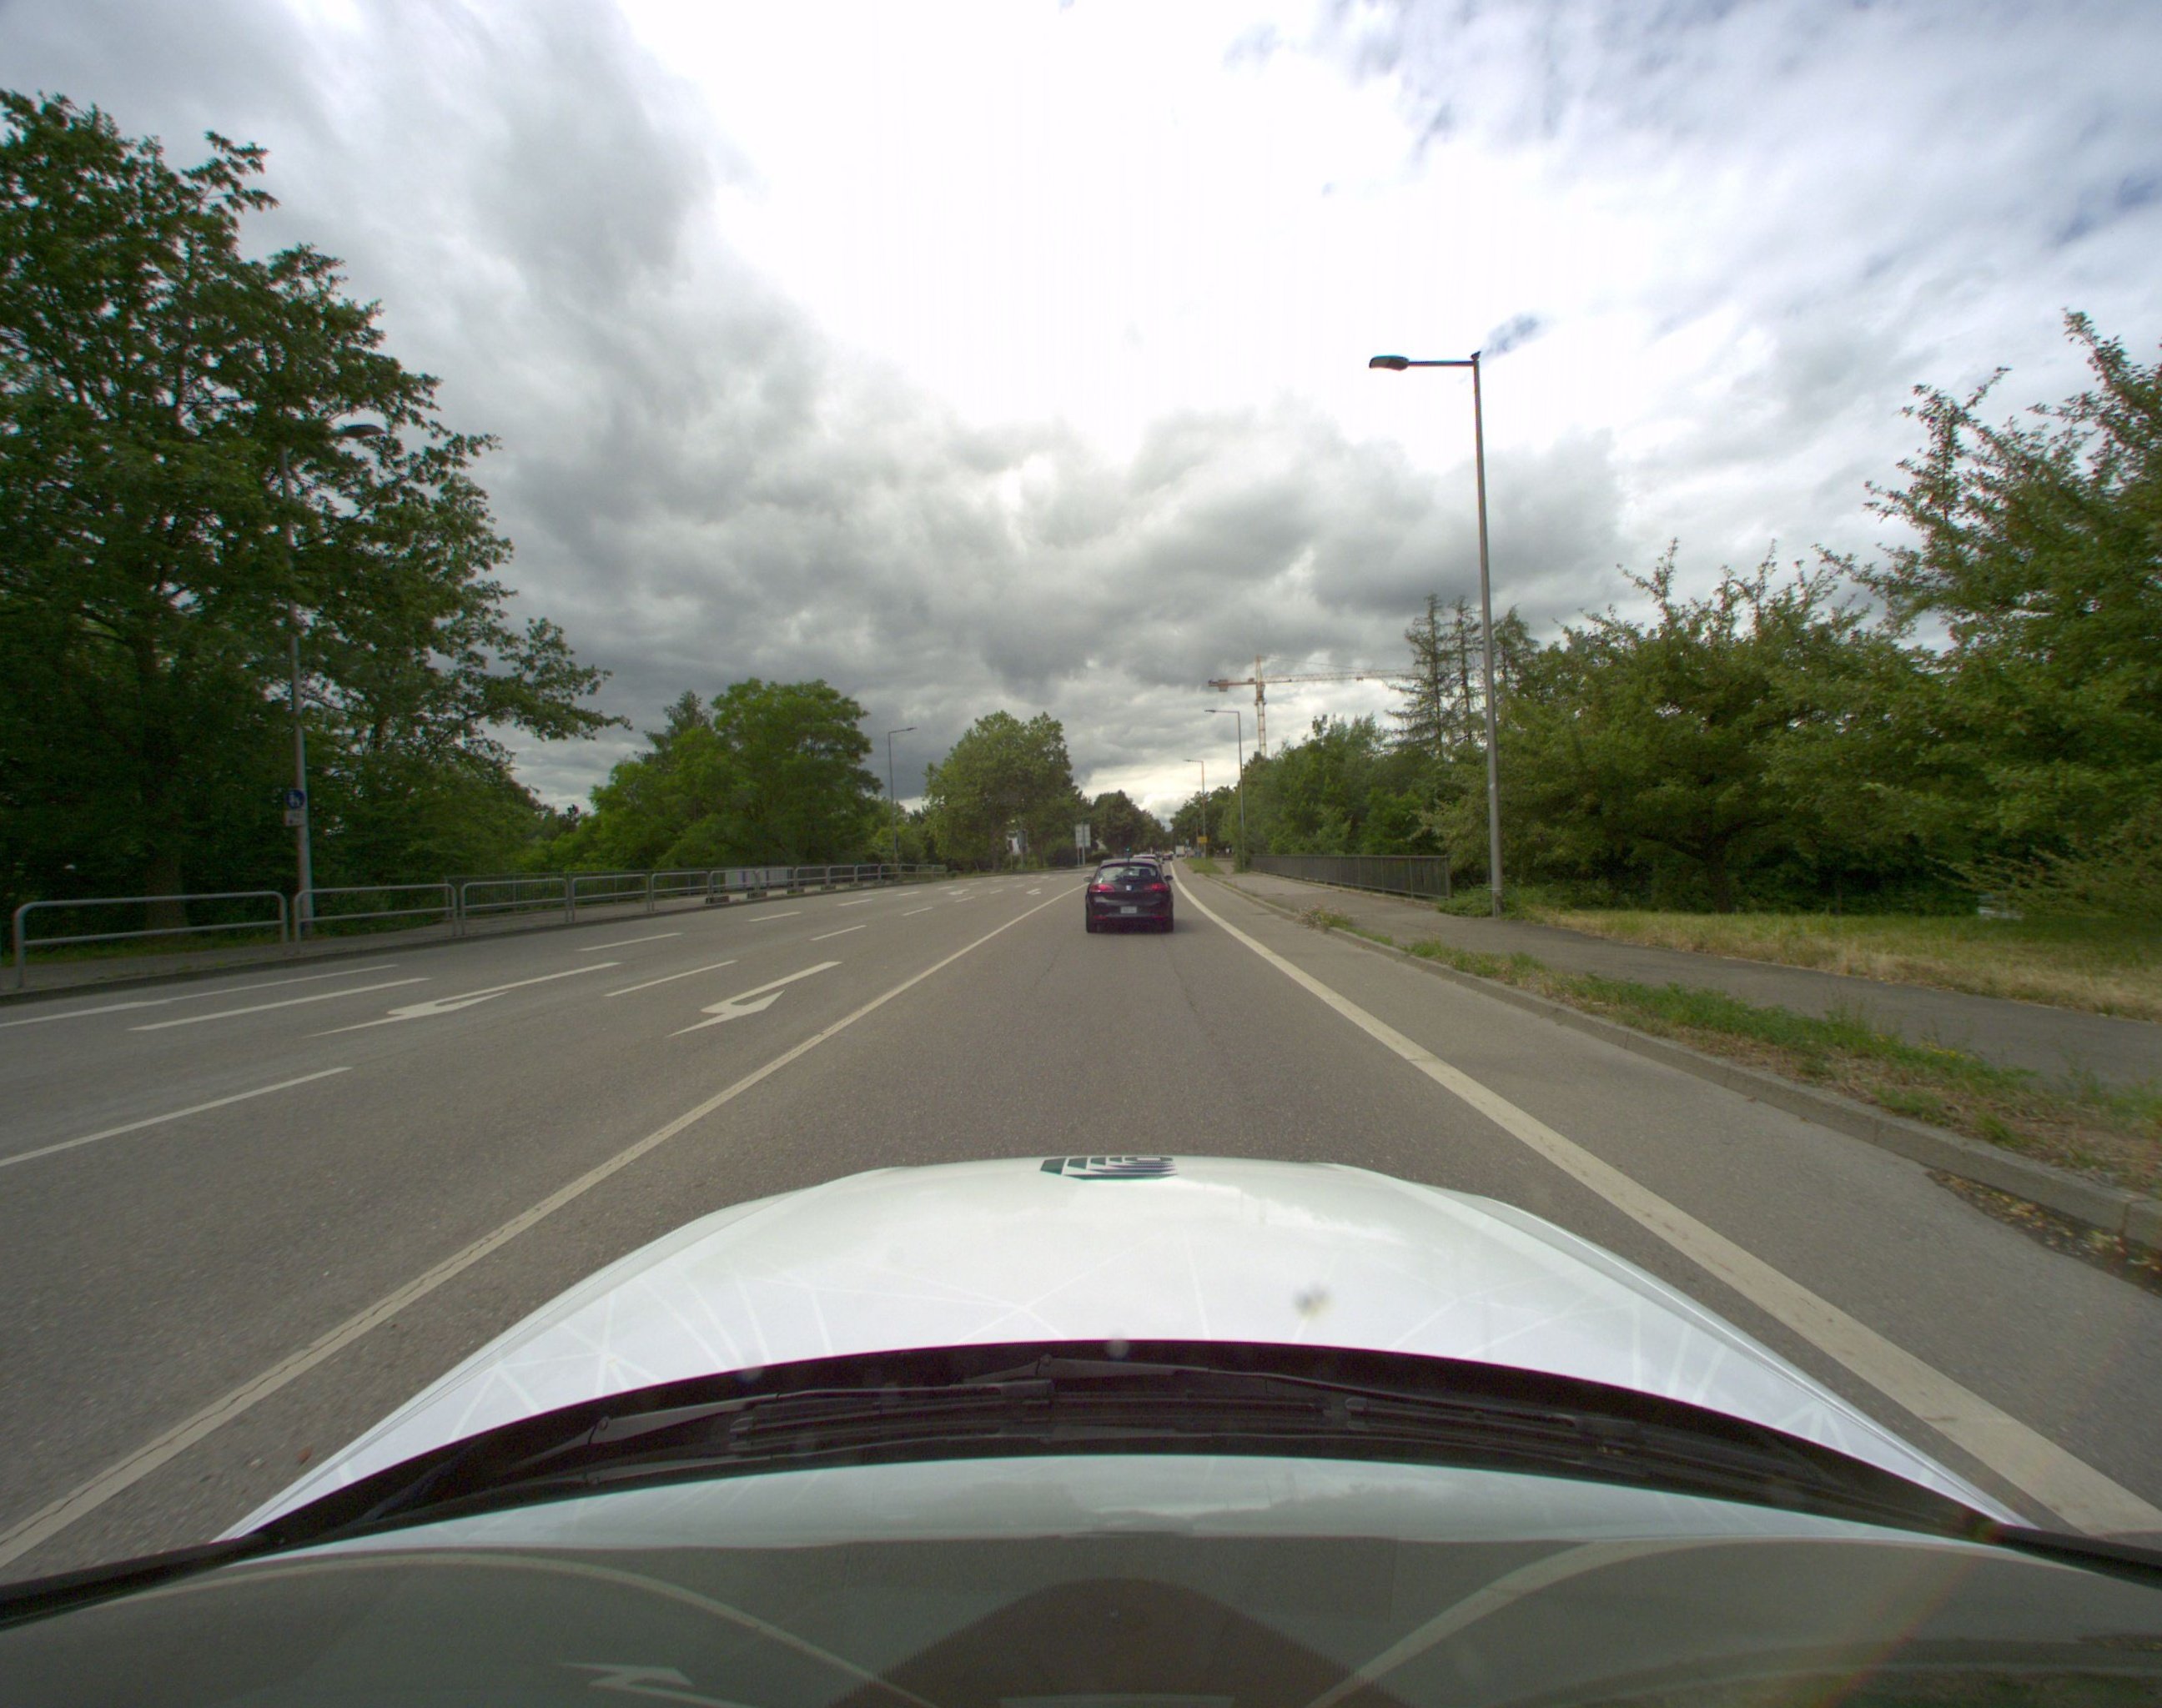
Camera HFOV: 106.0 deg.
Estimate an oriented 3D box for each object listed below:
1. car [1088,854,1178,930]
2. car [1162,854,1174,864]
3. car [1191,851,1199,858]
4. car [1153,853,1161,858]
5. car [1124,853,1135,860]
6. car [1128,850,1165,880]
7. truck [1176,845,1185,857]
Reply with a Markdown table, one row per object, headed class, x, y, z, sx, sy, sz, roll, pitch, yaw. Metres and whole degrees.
| class | x | y | z | sx | sy | sz | roll | pitch | yaw |
| --- | --- | --- | --- | --- | --- | --- | --- | --- | --- |
| car | 1.104 | 0.722 | 17.146 | 1.655 | 1.401 | 3.816 | -1 | 0 | 4 |
| car | 16.023 | 0.941 | 149.866 | 1.871 | 1.689 | 4.223 | -2 | 0 | 8 |
| car | 27.029 | 0.074 | 192.894 | 1.678 | 1.490 | 3.363 | -2 | 0 | 8 |
| car | 24.102 | 0.371 | 256.804 | 2.088 | 1.506 | 5.797 | -4 | 0 | 8 |
| car | 10.202 | 0.548 | 171.260 | 1.708 | 1.395 | 4.812 | -4 | 0 | 8 |
| car | 3.488 | 0.557 | 43.147 | 1.837 | 1.510 | 3.818 | -1 | 0 | 6 |
| truck | 27.154 | -0.824 | 222.431 | 2.266 | 3.104 | 8.529 | 0 | 0 | 8 |
